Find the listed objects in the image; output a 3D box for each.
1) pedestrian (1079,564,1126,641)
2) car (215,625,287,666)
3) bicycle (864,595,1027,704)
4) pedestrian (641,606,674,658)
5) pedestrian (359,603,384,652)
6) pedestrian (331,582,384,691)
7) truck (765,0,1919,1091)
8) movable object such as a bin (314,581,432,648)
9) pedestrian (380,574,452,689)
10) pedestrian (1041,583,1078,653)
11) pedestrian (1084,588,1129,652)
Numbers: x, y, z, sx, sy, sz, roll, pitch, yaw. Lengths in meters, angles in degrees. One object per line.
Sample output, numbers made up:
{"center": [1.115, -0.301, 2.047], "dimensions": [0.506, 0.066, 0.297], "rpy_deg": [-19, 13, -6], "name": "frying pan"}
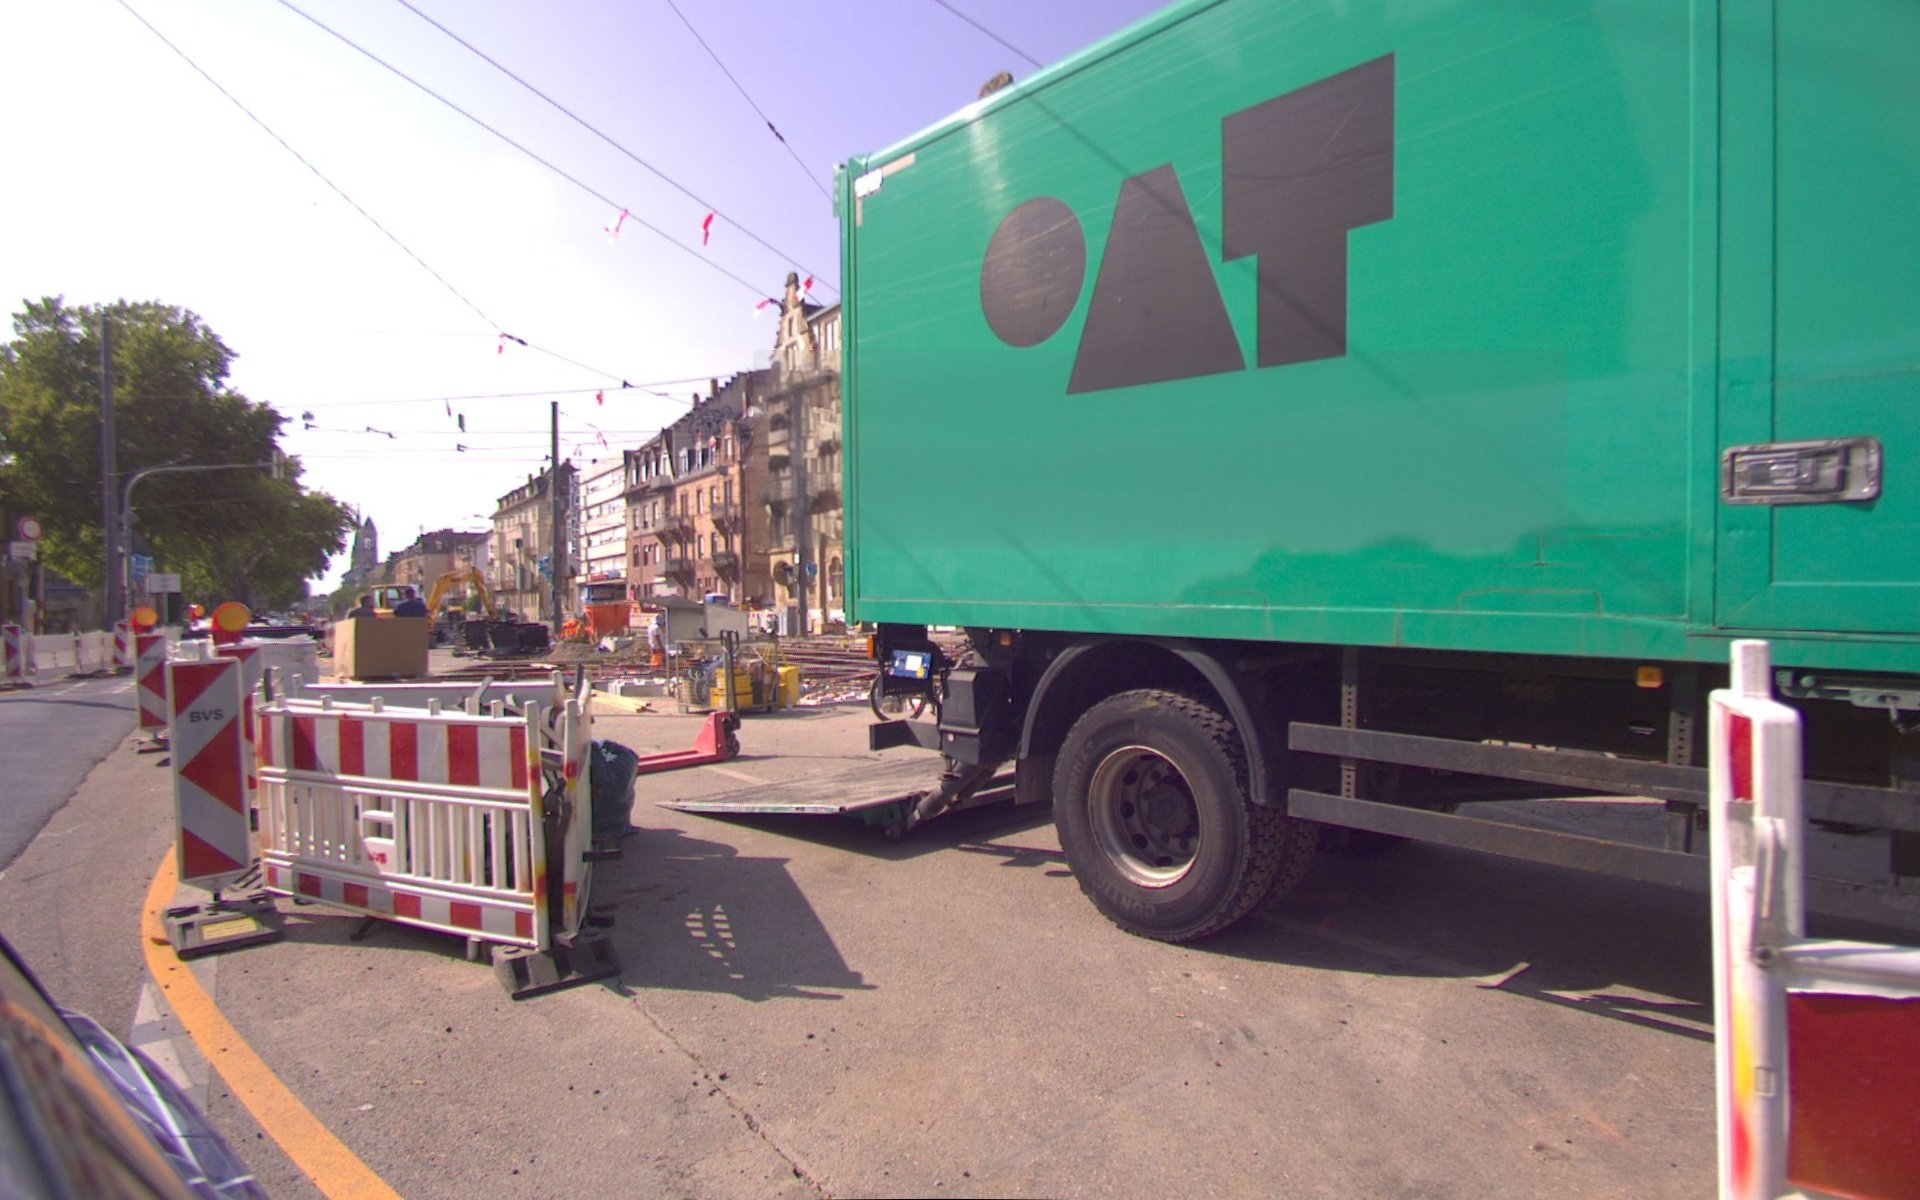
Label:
{"center": [3.233, 0.054, 22.904], "dimensions": [0.741, 1.715, 0.680], "rpy_deg": [-1, -1, -35], "name": "pedestrian"}
{"center": [-26.807, 1.688, 38.392], "dimensions": [1.966, 1.406, 4.011], "rpy_deg": [-1, -1, -32], "name": "car"}
{"center": [-0.147, 0.552, 11.487], "dimensions": [1.777, 1.157, 0.674], "rpy_deg": [-2, 0, 5], "name": "bicycle"}
{"center": [-7.458, 0.786, 24.978], "dimensions": [0.547, 1.256, 0.541], "rpy_deg": [-2, -1, 39], "name": "pedestrian"}
{"center": [-21.435, 0.999, 36.858], "dimensions": [0.690, 1.752, 0.915], "rpy_deg": [-1, -1, -27], "name": "pedestrian"}
{"center": [-10.185, 0.607, 17.100], "dimensions": [0.708, 1.788, 0.466], "rpy_deg": [-1, -1, -36], "name": "pedestrian"}
{"center": [3.009, -0.775, 3.505], "dimensions": [2.775, 3.817, 9.023], "rpy_deg": [0, -2, -43], "name": "truck"}
{"center": [-22.793, 0.570, 39.342], "dimensions": [2.918, 2.427, 3.129], "rpy_deg": [0, -1, 40], "name": "movable object such as a bin"}
{"center": [-9.173, 0.515, 17.063], "dimensions": [0.906, 1.855, 0.803], "rpy_deg": [-1, -1, -38], "name": "pedestrian"}
{"center": [2.300, 0.409, 23.396], "dimensions": [0.730, 1.568, 0.750], "rpy_deg": [-2, -1, 13], "name": "pedestrian"}
{"center": [2.968, 0.405, 20.454], "dimensions": [0.667, 1.256, 0.549], "rpy_deg": [-1, -1, -36], "name": "pedestrian"}
